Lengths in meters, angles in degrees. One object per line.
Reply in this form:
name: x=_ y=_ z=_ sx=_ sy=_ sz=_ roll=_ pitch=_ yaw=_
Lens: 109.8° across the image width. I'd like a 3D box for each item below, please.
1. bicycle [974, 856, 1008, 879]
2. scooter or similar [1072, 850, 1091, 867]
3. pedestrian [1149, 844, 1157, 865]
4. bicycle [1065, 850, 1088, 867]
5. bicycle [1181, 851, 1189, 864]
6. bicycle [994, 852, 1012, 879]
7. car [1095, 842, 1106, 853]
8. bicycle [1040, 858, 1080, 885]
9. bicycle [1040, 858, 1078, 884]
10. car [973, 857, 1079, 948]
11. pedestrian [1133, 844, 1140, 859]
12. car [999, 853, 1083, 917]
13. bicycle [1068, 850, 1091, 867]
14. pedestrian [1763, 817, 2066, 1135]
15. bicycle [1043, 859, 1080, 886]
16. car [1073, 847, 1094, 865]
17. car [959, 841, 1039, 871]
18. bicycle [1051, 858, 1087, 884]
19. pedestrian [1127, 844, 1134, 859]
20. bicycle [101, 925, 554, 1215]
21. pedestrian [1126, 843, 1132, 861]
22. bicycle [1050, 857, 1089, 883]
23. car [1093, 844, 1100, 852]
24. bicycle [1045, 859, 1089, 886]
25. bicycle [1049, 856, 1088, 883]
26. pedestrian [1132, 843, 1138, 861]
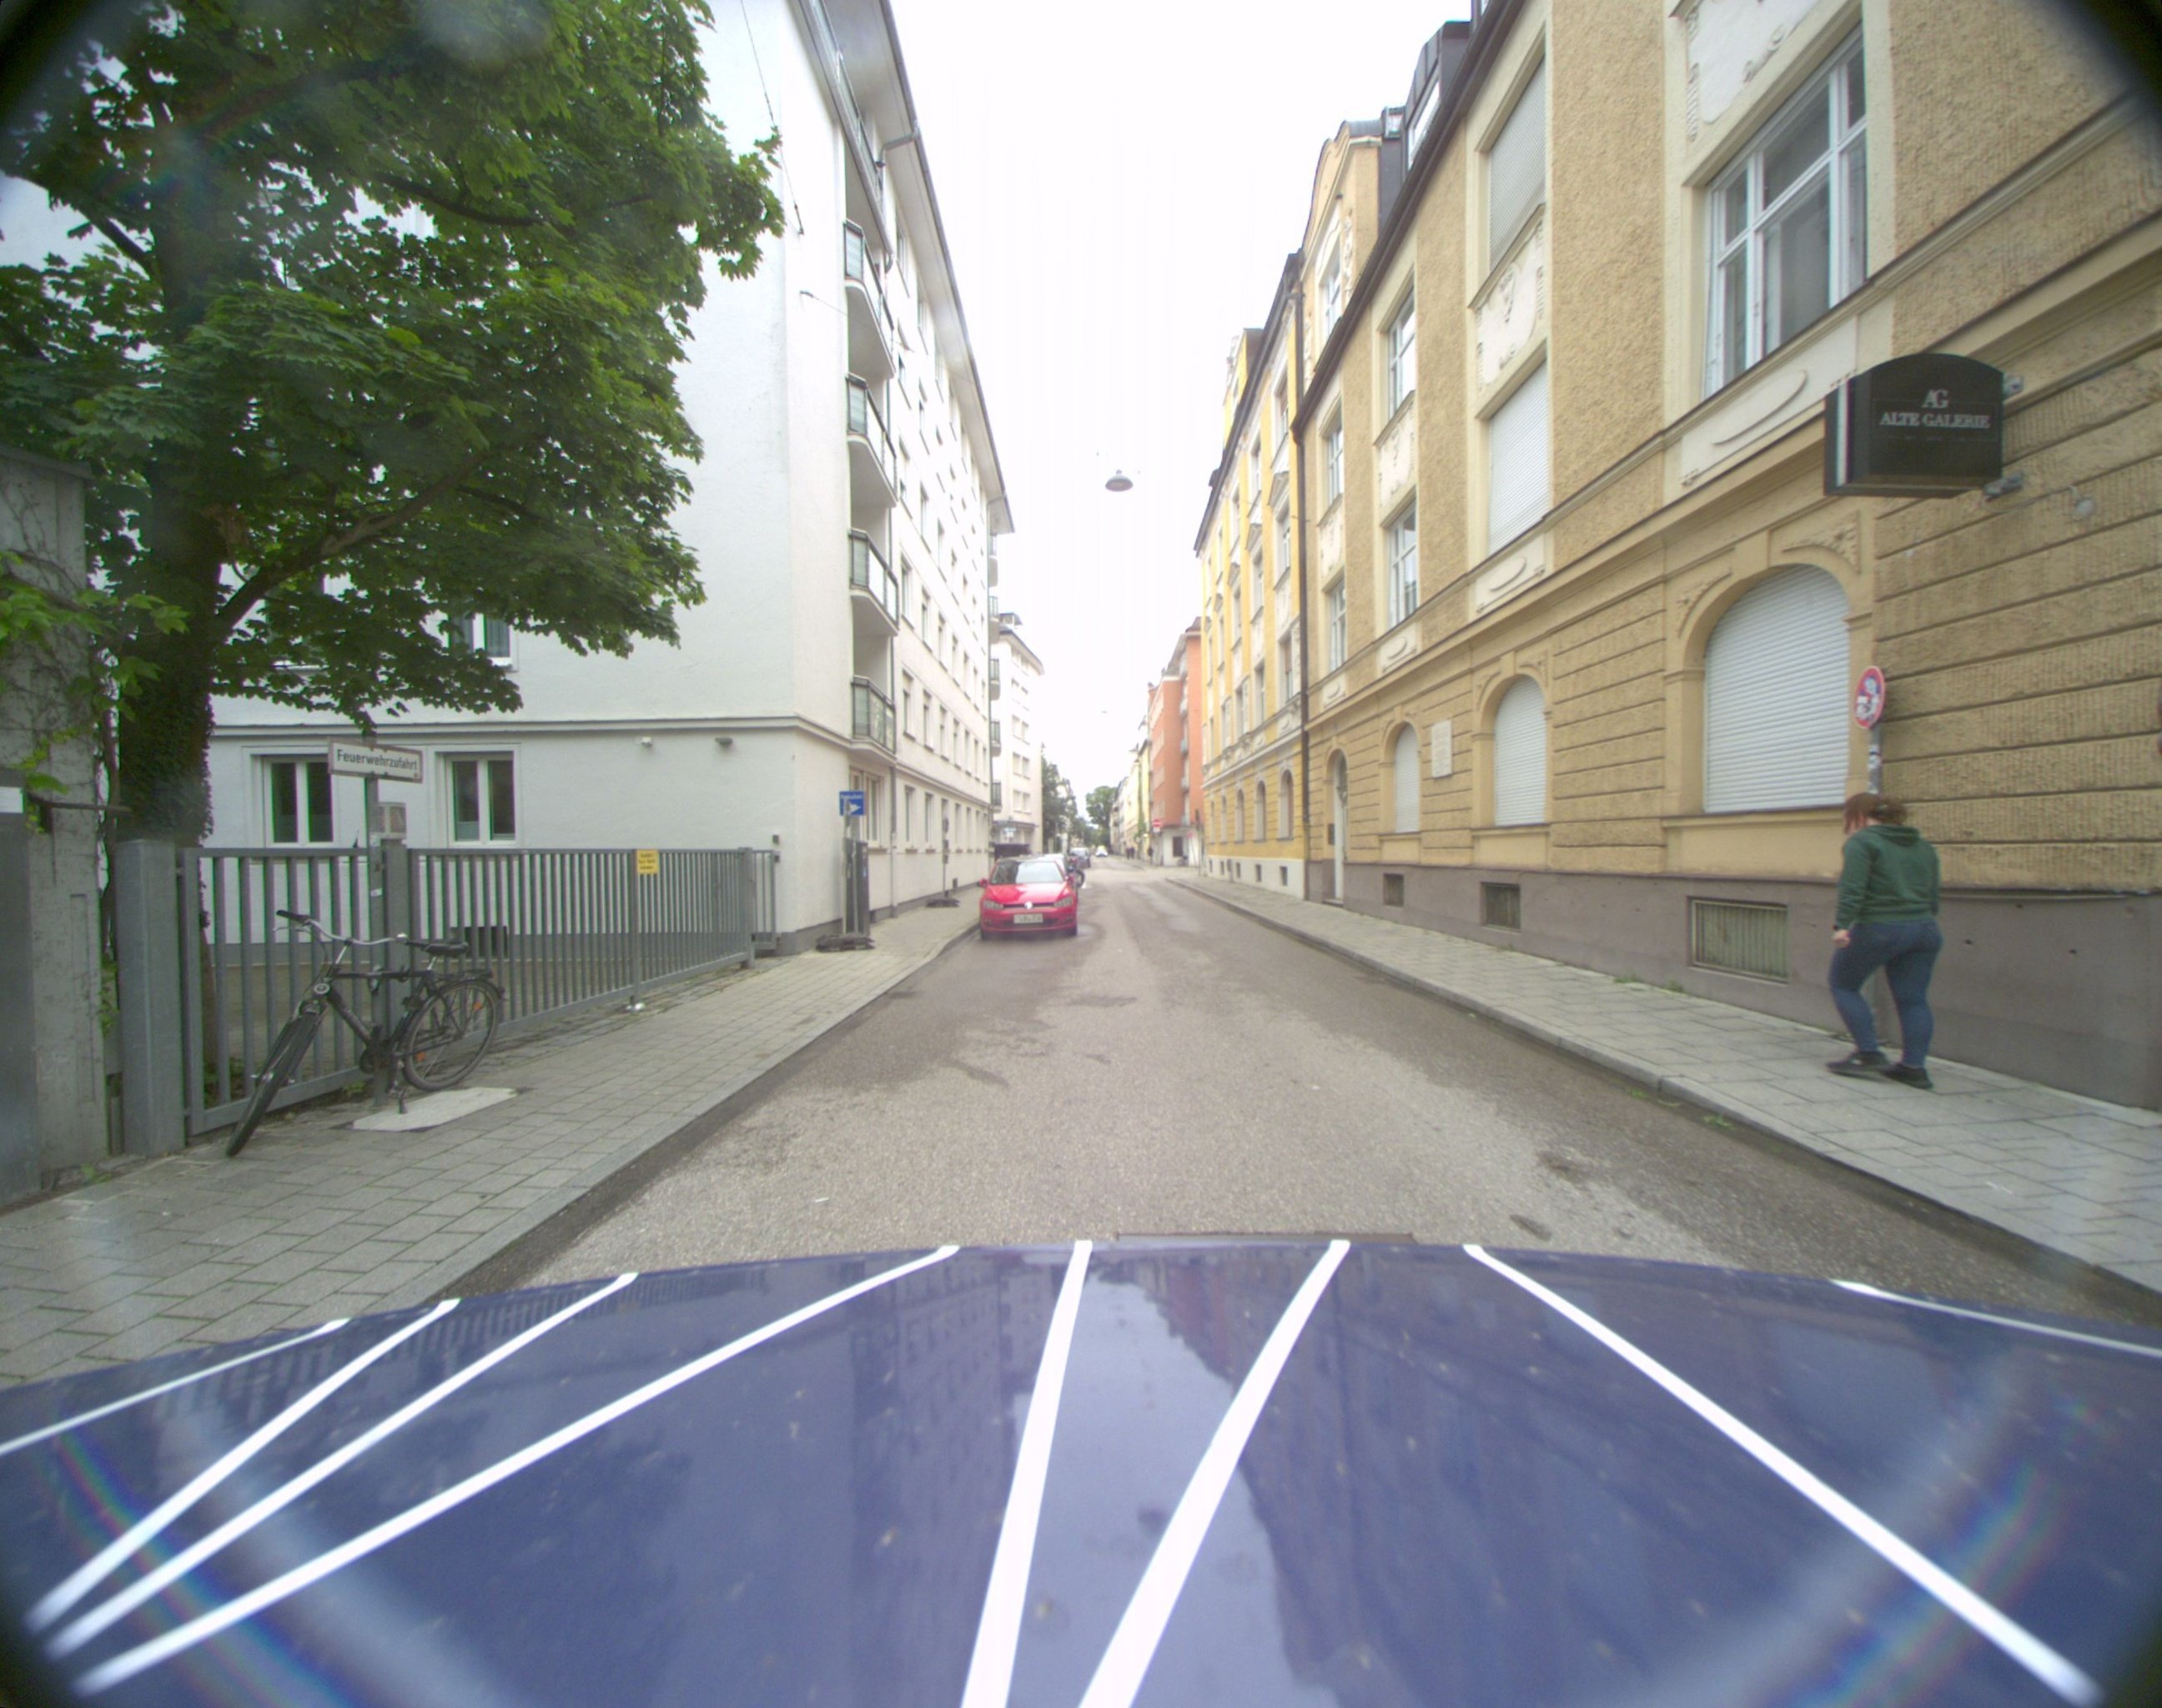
bicycle: x=-4.093 y=0.608 z=34.548 sx=1.502 sy=1.038 sz=0.398 roll=1 pitch=2 yaw=-17
scooter or similar: x=0.039 y=0.341 z=53.733 sx=1.340 sy=1.207 sz=0.344 roll=0 pitch=1 yaw=4
pedestrian: x=5.754 y=0.020 z=60.771 sx=0.613 sy=1.684 sz=0.565 roll=0 pitch=1 yaw=0
bicycle: x=-0.315 y=0.307 z=55.736 sx=1.607 sy=1.207 sz=0.529 roll=0 pitch=1 yaw=4
bicycle: x=7.608 y=0.225 z=55.775 sx=0.391 sy=0.932 sz=1.540 roll=0 pitch=1 yaw=1
bicycle: x=-3.740 y=0.548 z=36.390 sx=0.399 sy=1.198 sz=1.502 roll=1 pitch=2 yaw=-24
car: x=3.293 y=-1.057 z=129.014 sx=1.929 sy=1.795 sz=4.443 roll=-1 pitch=1 yaw=0
bicycle: x=-0.866 y=0.722 z=31.084 sx=1.590 sy=1.038 sz=0.323 roll=2 pitch=2 yaw=9
bicycle: x=-0.913 y=0.711 z=31.635 sx=1.520 sy=1.038 sz=0.360 roll=2 pitch=2 yaw=9
car: x=-1.117 y=0.836 z=15.215 sx=1.766 sy=1.438 sz=4.296 roll=-2 pitch=1 yaw=-5
pedestrian: x=6.513 y=-0.328 z=88.966 sx=0.699 sy=1.783 sz=0.763 roll=0 pitch=1 yaw=2
car: x=-0.964 y=0.749 z=20.494 sx=1.799 sy=1.430 sz=4.383 roll=-2 pitch=1 yaw=2
bicycle: x=-0.092 y=0.316 z=55.161 sx=1.607 sy=1.207 sz=0.529 roll=0 pitch=1 yaw=4
pedestrian: x=4.853 y=0.647 z=4.507 sx=0.714 sy=1.656 sz=0.929 roll=-4 pitch=1 yaw=1
bicycle: x=-0.787 y=0.728 z=30.720 sx=1.438 sy=1.038 sz=0.330 roll=2 pitch=2 yaw=9
car: x=0.217 y=0.137 z=61.552 sx=1.653 sy=1.391 sz=4.000 roll=0 pitch=1 yaw=1
car: x=-5.143 y=0.126 z=47.845 sx=4.676 sy=1.880 sz=1.935 roll=0 pitch=0 yaw=9
bicycle: x=-0.498 y=0.712 z=31.966 sx=1.441 sy=1.038 sz=0.360 roll=2 pitch=2 yaw=9
pedestrian: x=5.754 y=-0.326 z=88.614 sx=0.726 sy=1.783 sz=0.830 roll=0 pitch=1 yaw=1
bicycle: x=-4.029 y=1.058 z=4.338 sx=0.709 sy=1.191 sz=1.834 roll=-1 pitch=-2 yaw=2
pedestrian: x=5.624 y=-0.224 z=88.825 sx=0.635 sy=2.002 sz=0.788 roll=1 pitch=1 yaw=1
bicycle: x=-0.521 y=0.702 z=33.637 sx=1.699 sy=1.154 sz=0.378 roll=-1 pitch=1 yaw=0
car: x=4.121 y=-1.700 z=204.194 sx=1.998 sy=2.002 sz=4.646 roll=-1 pitch=1 yaw=0
bicycle: x=-0.547 y=0.737 z=30.250 sx=1.707 sy=1.038 sz=0.360 roll=1 pitch=2 yaw=2
bicycle: x=-0.554 y=0.696 z=34.036 sx=1.699 sy=1.154 sz=0.378 roll=-1 pitch=1 yaw=0
pedestrian: x=6.274 y=-0.233 z=88.884 sx=0.635 sy=2.002 sz=0.788 roll=1 pitch=1 yaw=1
